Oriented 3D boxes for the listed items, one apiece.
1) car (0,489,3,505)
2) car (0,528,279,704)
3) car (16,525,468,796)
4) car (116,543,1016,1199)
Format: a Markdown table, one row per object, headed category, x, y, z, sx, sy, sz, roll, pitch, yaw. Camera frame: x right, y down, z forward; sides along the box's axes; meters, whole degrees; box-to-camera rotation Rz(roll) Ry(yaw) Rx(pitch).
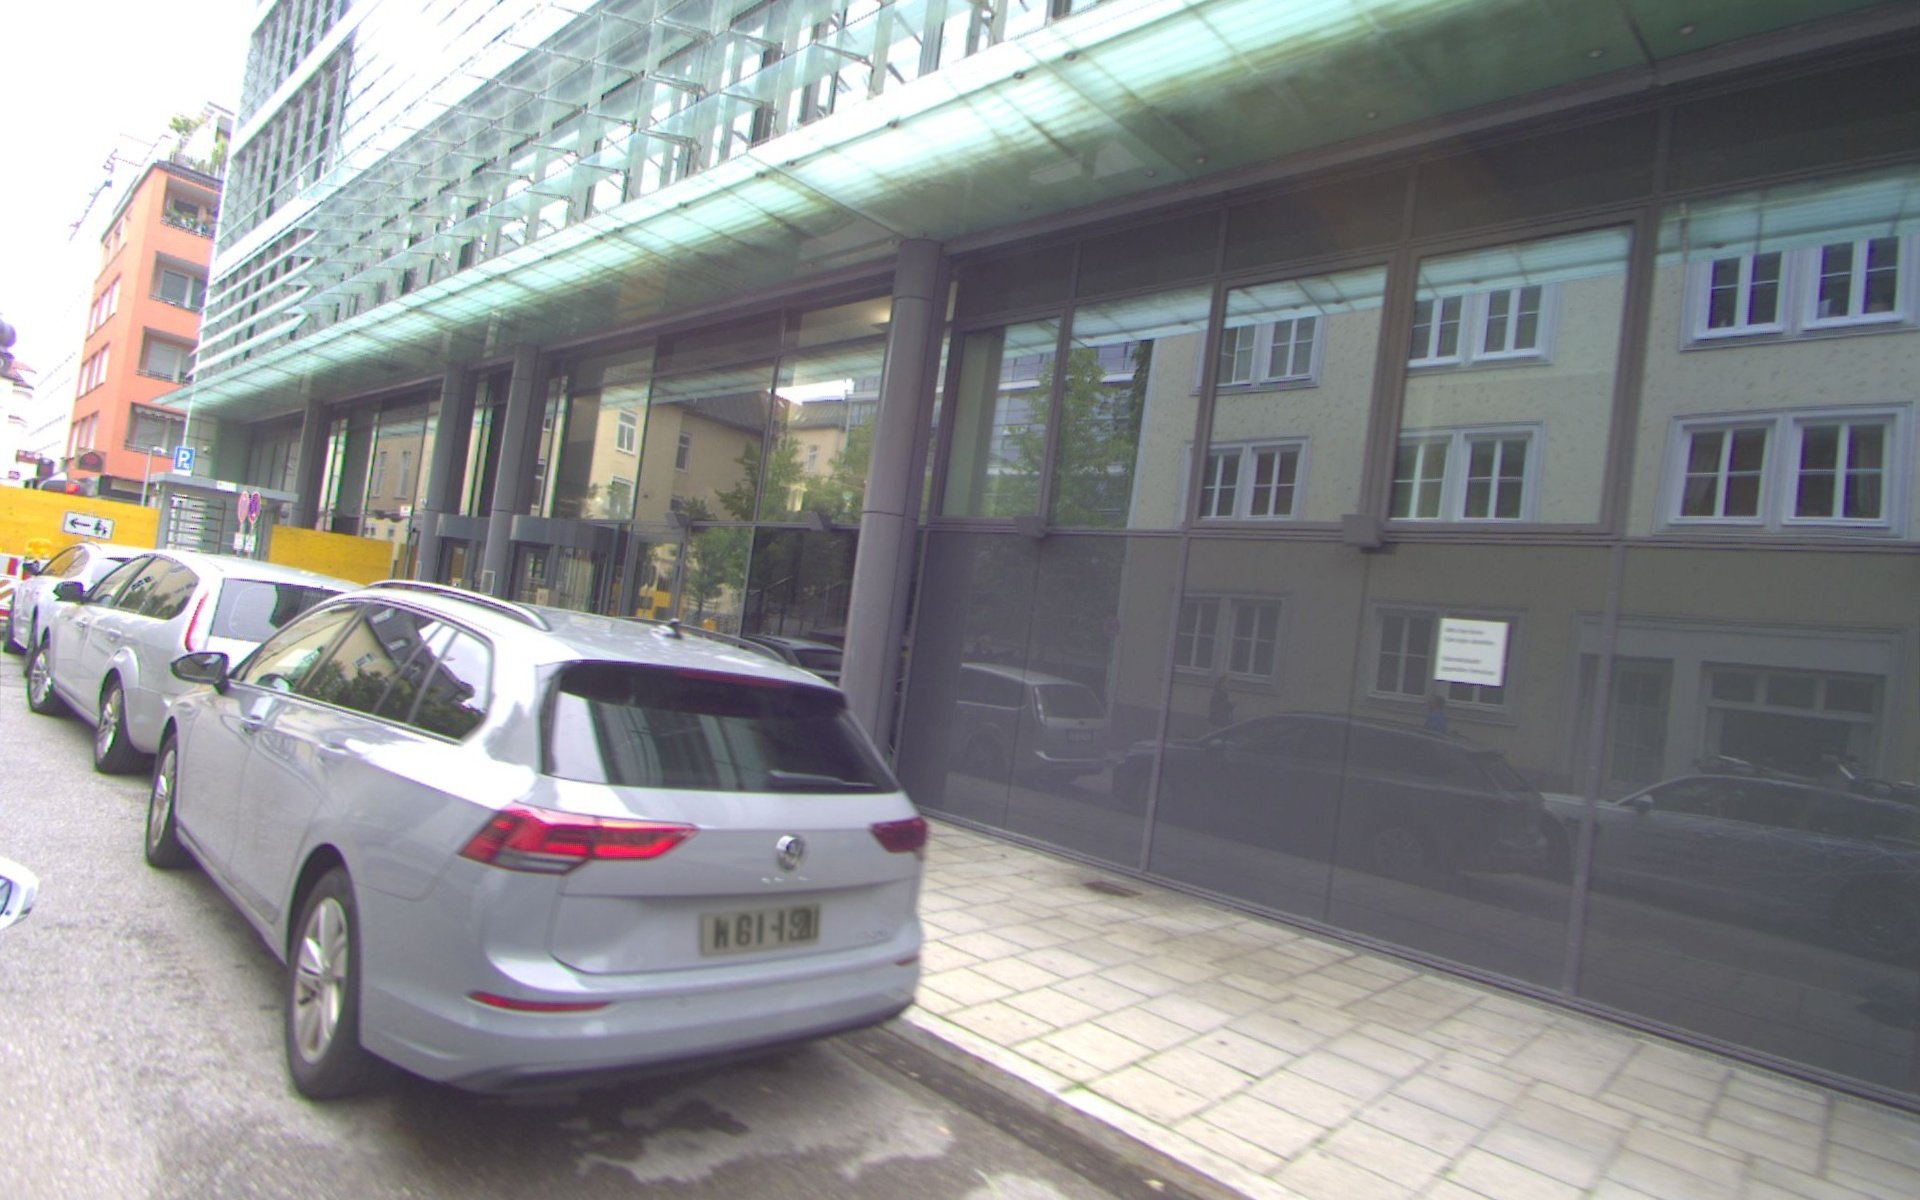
| category | x | y | z | sx | sy | sz | roll | pitch | yaw |
| --- | --- | --- | --- | --- | --- | --- | --- | --- | --- |
| car | -46.388 | -4.088 | 46.867 | 4.908 | 2.564 | 1.993 | 6 | -4 | 43 |
| car | -9.395 | 0.099 | 11.375 | 4.450 | 1.428 | 1.708 | 5 | -5 | 43 |
| car | -5.740 | 0.372 | 7.842 | 4.177 | 1.482 | 1.709 | 5 | -5 | 40 |
| car | -2.020 | 0.685 | 4.252 | 4.271 | 1.448 | 1.707 | 5 | -4 | 43 |
